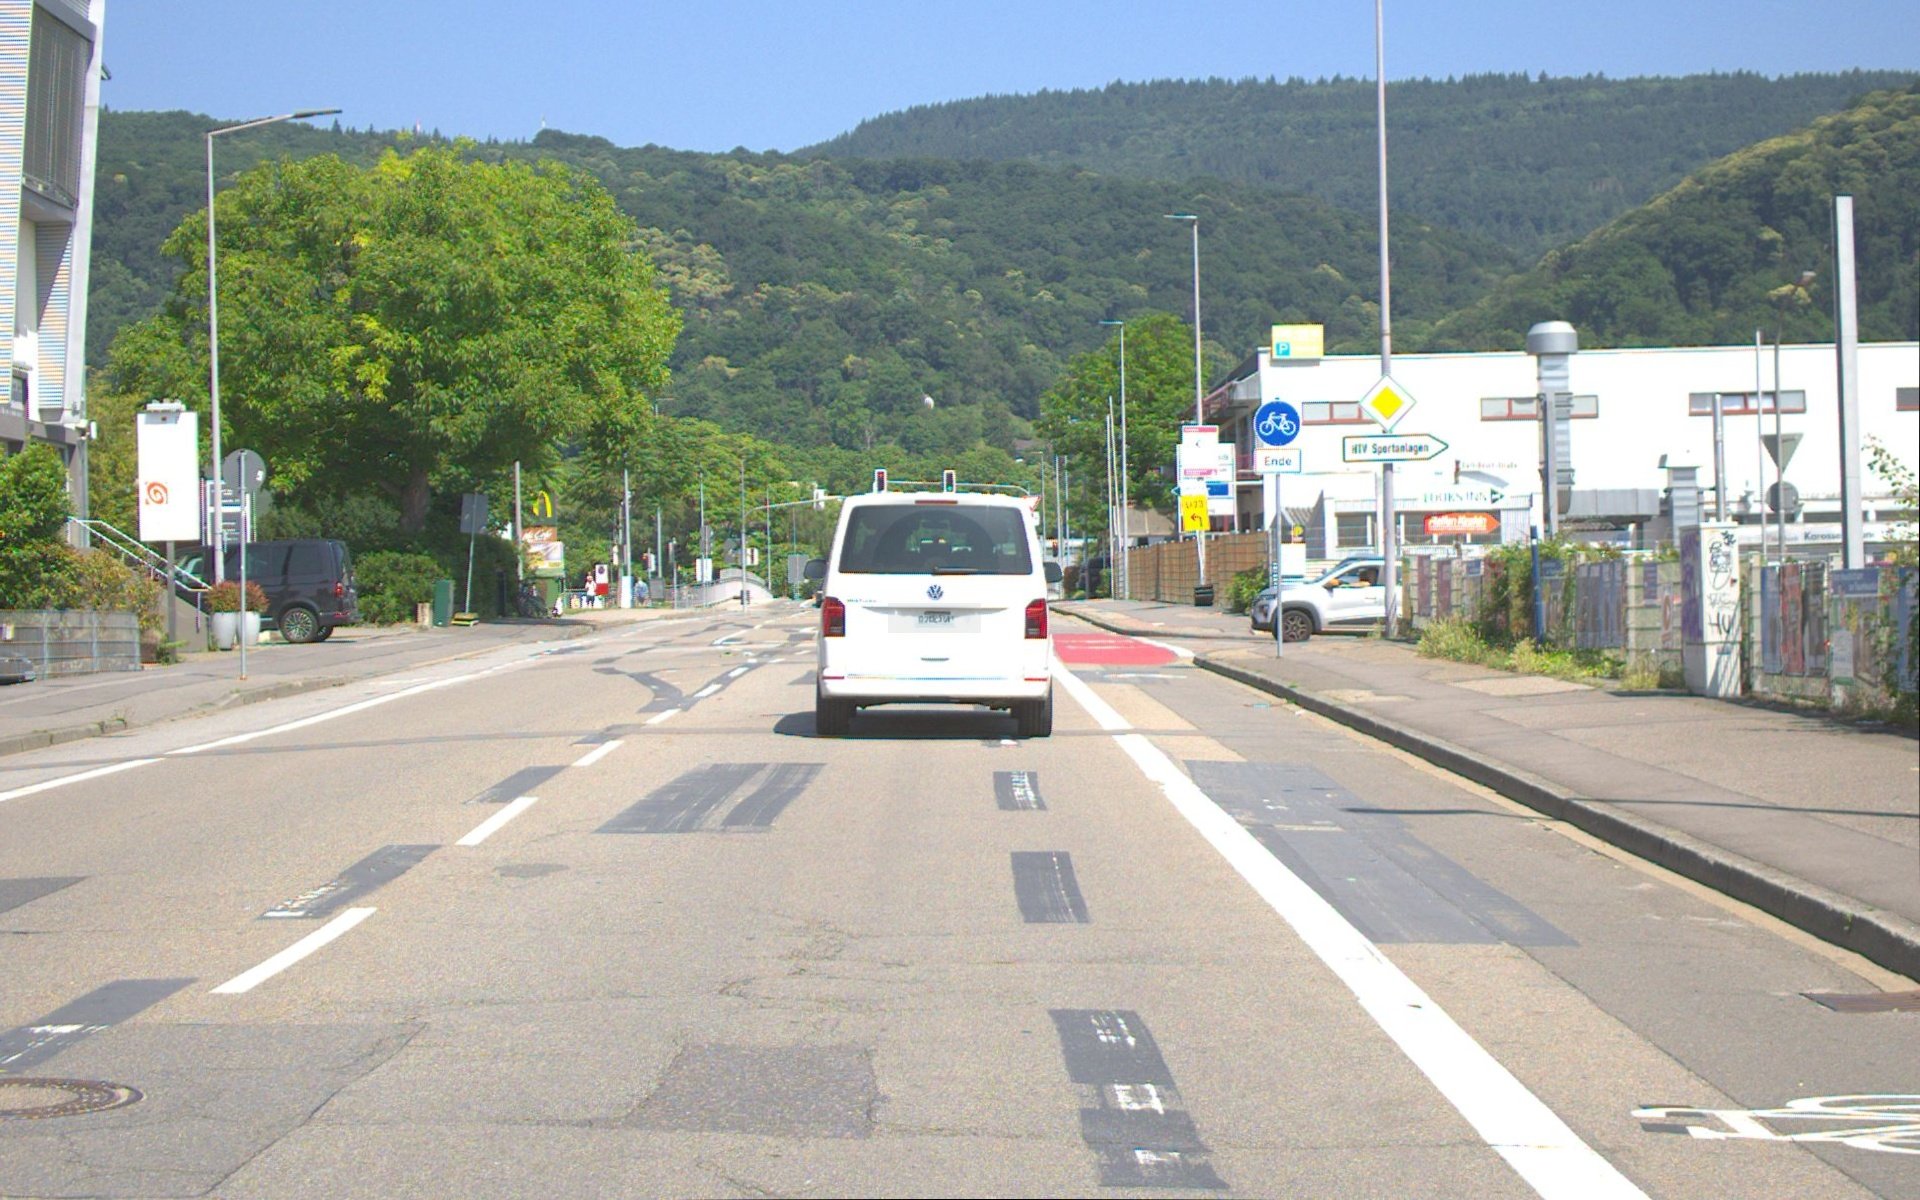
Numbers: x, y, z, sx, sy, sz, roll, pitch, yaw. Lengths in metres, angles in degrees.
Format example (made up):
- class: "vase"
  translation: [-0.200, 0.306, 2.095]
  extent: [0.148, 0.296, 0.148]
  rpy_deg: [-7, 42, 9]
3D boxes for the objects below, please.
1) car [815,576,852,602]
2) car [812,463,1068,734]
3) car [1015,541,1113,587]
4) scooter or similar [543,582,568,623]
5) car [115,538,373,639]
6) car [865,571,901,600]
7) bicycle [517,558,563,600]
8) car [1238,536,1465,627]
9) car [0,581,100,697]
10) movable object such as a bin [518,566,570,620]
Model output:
- class: "car"
  translation: [-6.973, -0.593, 189.901]
  extent: [1.993, 1.365, 4.327]
  rpy_deg: [-2, 0, -1]
- class: "car"
  translation: [-0.232, -0.030, 28.962]
  extent: [1.934, 2.052, 4.545]
  rpy_deg: [1, 0, -2]
- class: "car"
  translation: [4.395, -1.513, 144.334]
  extent: [3.987, 1.769, 2.000]
  rpy_deg: [-2, 0, 4]
- class: "scooter or similar"
  translation: [-11.422, 0.053, 97.058]
  extent: [0.646, 1.124, 1.623]
  rpy_deg: [2, 0, -7]
- class: "car"
  translation: [-13.530, -0.232, 65.214]
  extent: [4.565, 1.859, 2.093]
  rpy_deg: [0, 0, -5]
- class: "car"
  translation: [-4.340, -0.819, 194.199]
  extent: [1.849, 1.583, 4.000]
  rpy_deg: [-2, 0, 0]
- class: "bicycle"
  translation: [-11.409, -0.568, 93.447]
  extent: [1.026, 1.114, 2.766]
  rpy_deg: [1, 0, -3]
- class: "car"
  translation: [6.568, -0.318, 57.886]
  extent: [3.665, 1.479, 1.728]
  rpy_deg: [0, 1, 2]
- class: "car"
  translation: [-14.035, 0.542, 45.611]
  extent: [4.738, 1.476, 2.048]
  rpy_deg: [-1, 1, -1]
- class: "movable object such as a bin"
  translation: [-12.464, -0.213, 102.916]
  extent: [1.447, 1.585, 1.307]
  rpy_deg: [-2, 1, -9]
